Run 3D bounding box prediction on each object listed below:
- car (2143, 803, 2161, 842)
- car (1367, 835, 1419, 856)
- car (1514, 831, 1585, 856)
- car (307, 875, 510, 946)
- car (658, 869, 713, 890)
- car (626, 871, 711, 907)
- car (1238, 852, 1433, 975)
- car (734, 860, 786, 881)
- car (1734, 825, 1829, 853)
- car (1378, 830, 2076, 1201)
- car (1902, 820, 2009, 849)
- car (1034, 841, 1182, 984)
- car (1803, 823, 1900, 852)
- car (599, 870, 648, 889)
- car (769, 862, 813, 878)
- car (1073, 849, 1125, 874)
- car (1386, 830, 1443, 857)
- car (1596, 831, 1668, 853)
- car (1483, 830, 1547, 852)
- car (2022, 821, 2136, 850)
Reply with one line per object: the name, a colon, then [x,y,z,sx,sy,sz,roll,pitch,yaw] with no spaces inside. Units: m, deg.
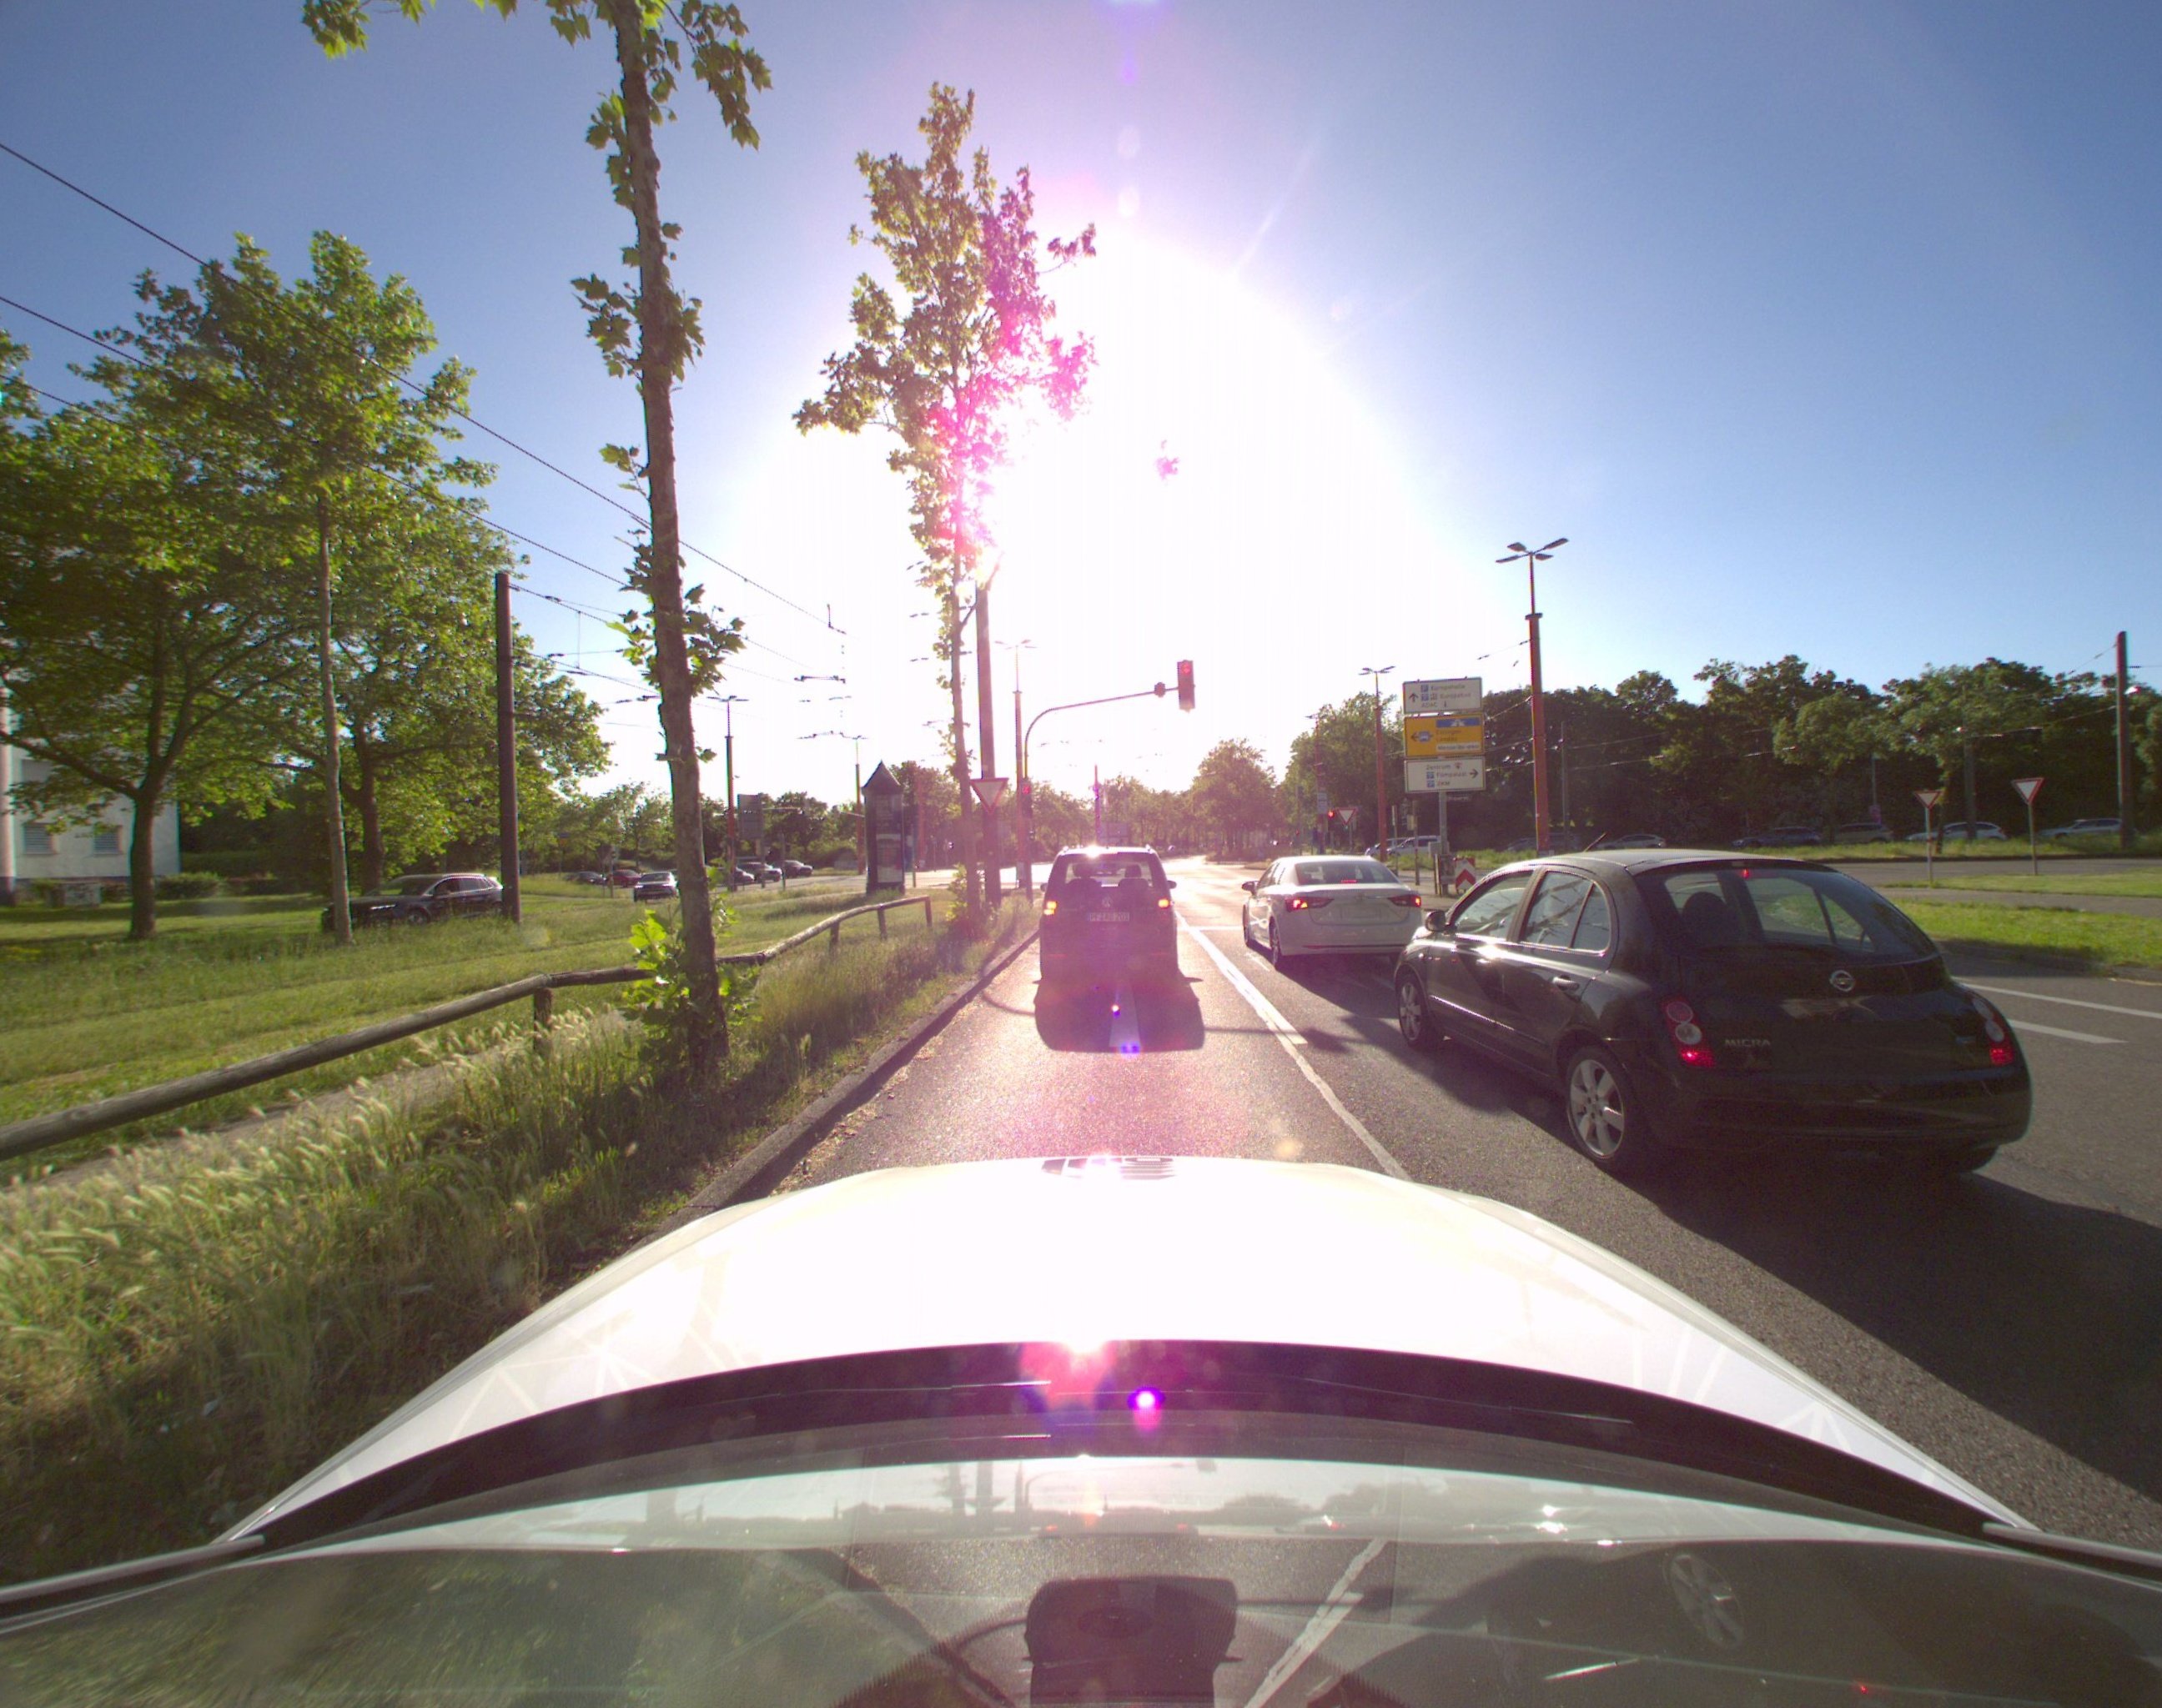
car: [58.235,-1.710,41.513,4.526,2.013,2.013,-2,0,30]
car: [24.474,-0.646,63.941,3.608,1.655,1.690,0,-1,27]
car: [32.143,-0.726,55.950,4.139,1.644,1.770,0,-1,29]
car: [-17.249,1.379,21.193,1.758,1.512,4.104,-2,0,2]
car: [-32.203,2.082,66.230,4.135,1.612,1.880,-2,0,27]
car: [-20.150,1.683,40.009,1.799,1.522,4.332,-2,0,2]
car: [3.402,0.700,11.692,1.713,1.438,4.202,-1,0,3]
car: [-26.402,1.364,66.989,3.948,1.644,2.013,-2,0,33]
car: [42.911,-0.898,50.002,4.080,1.598,1.840,-2,0,29]
car: [3.284,0.659,5.133,1.647,1.500,3.617,-1,0,2]
car: [49.649,-1.089,46.318,3.782,1.523,1.706,-2,0,31]
car: [0.372,0.676,11.457,1.694,1.621,3.898,-2,0,2]
car: [48.439,-1.038,51.321,4.080,1.644,1.864,-2,0,31]
car: [-39.287,2.160,69.867,3.949,1.513,1.743,-2,0,28]
car: [-26.454,1.472,74.379,3.948,1.330,1.709,-2,0,33]
car: [1.226,0.503,57.198,1.809,1.656,4.074,-2,0,-30]
car: [24.687,-0.758,60.237,3.797,1.890,1.774,0,-1,25]
car: [37.933,-0.796,56.173,3.926,1.441,1.697,0,-1,29]
car: [31.834,-0.947,59.806,4.082,1.511,1.834,0,-1,28]
car: [56.236,-1.024,45.990,3.700,1.473,1.611,-2,0,29]
